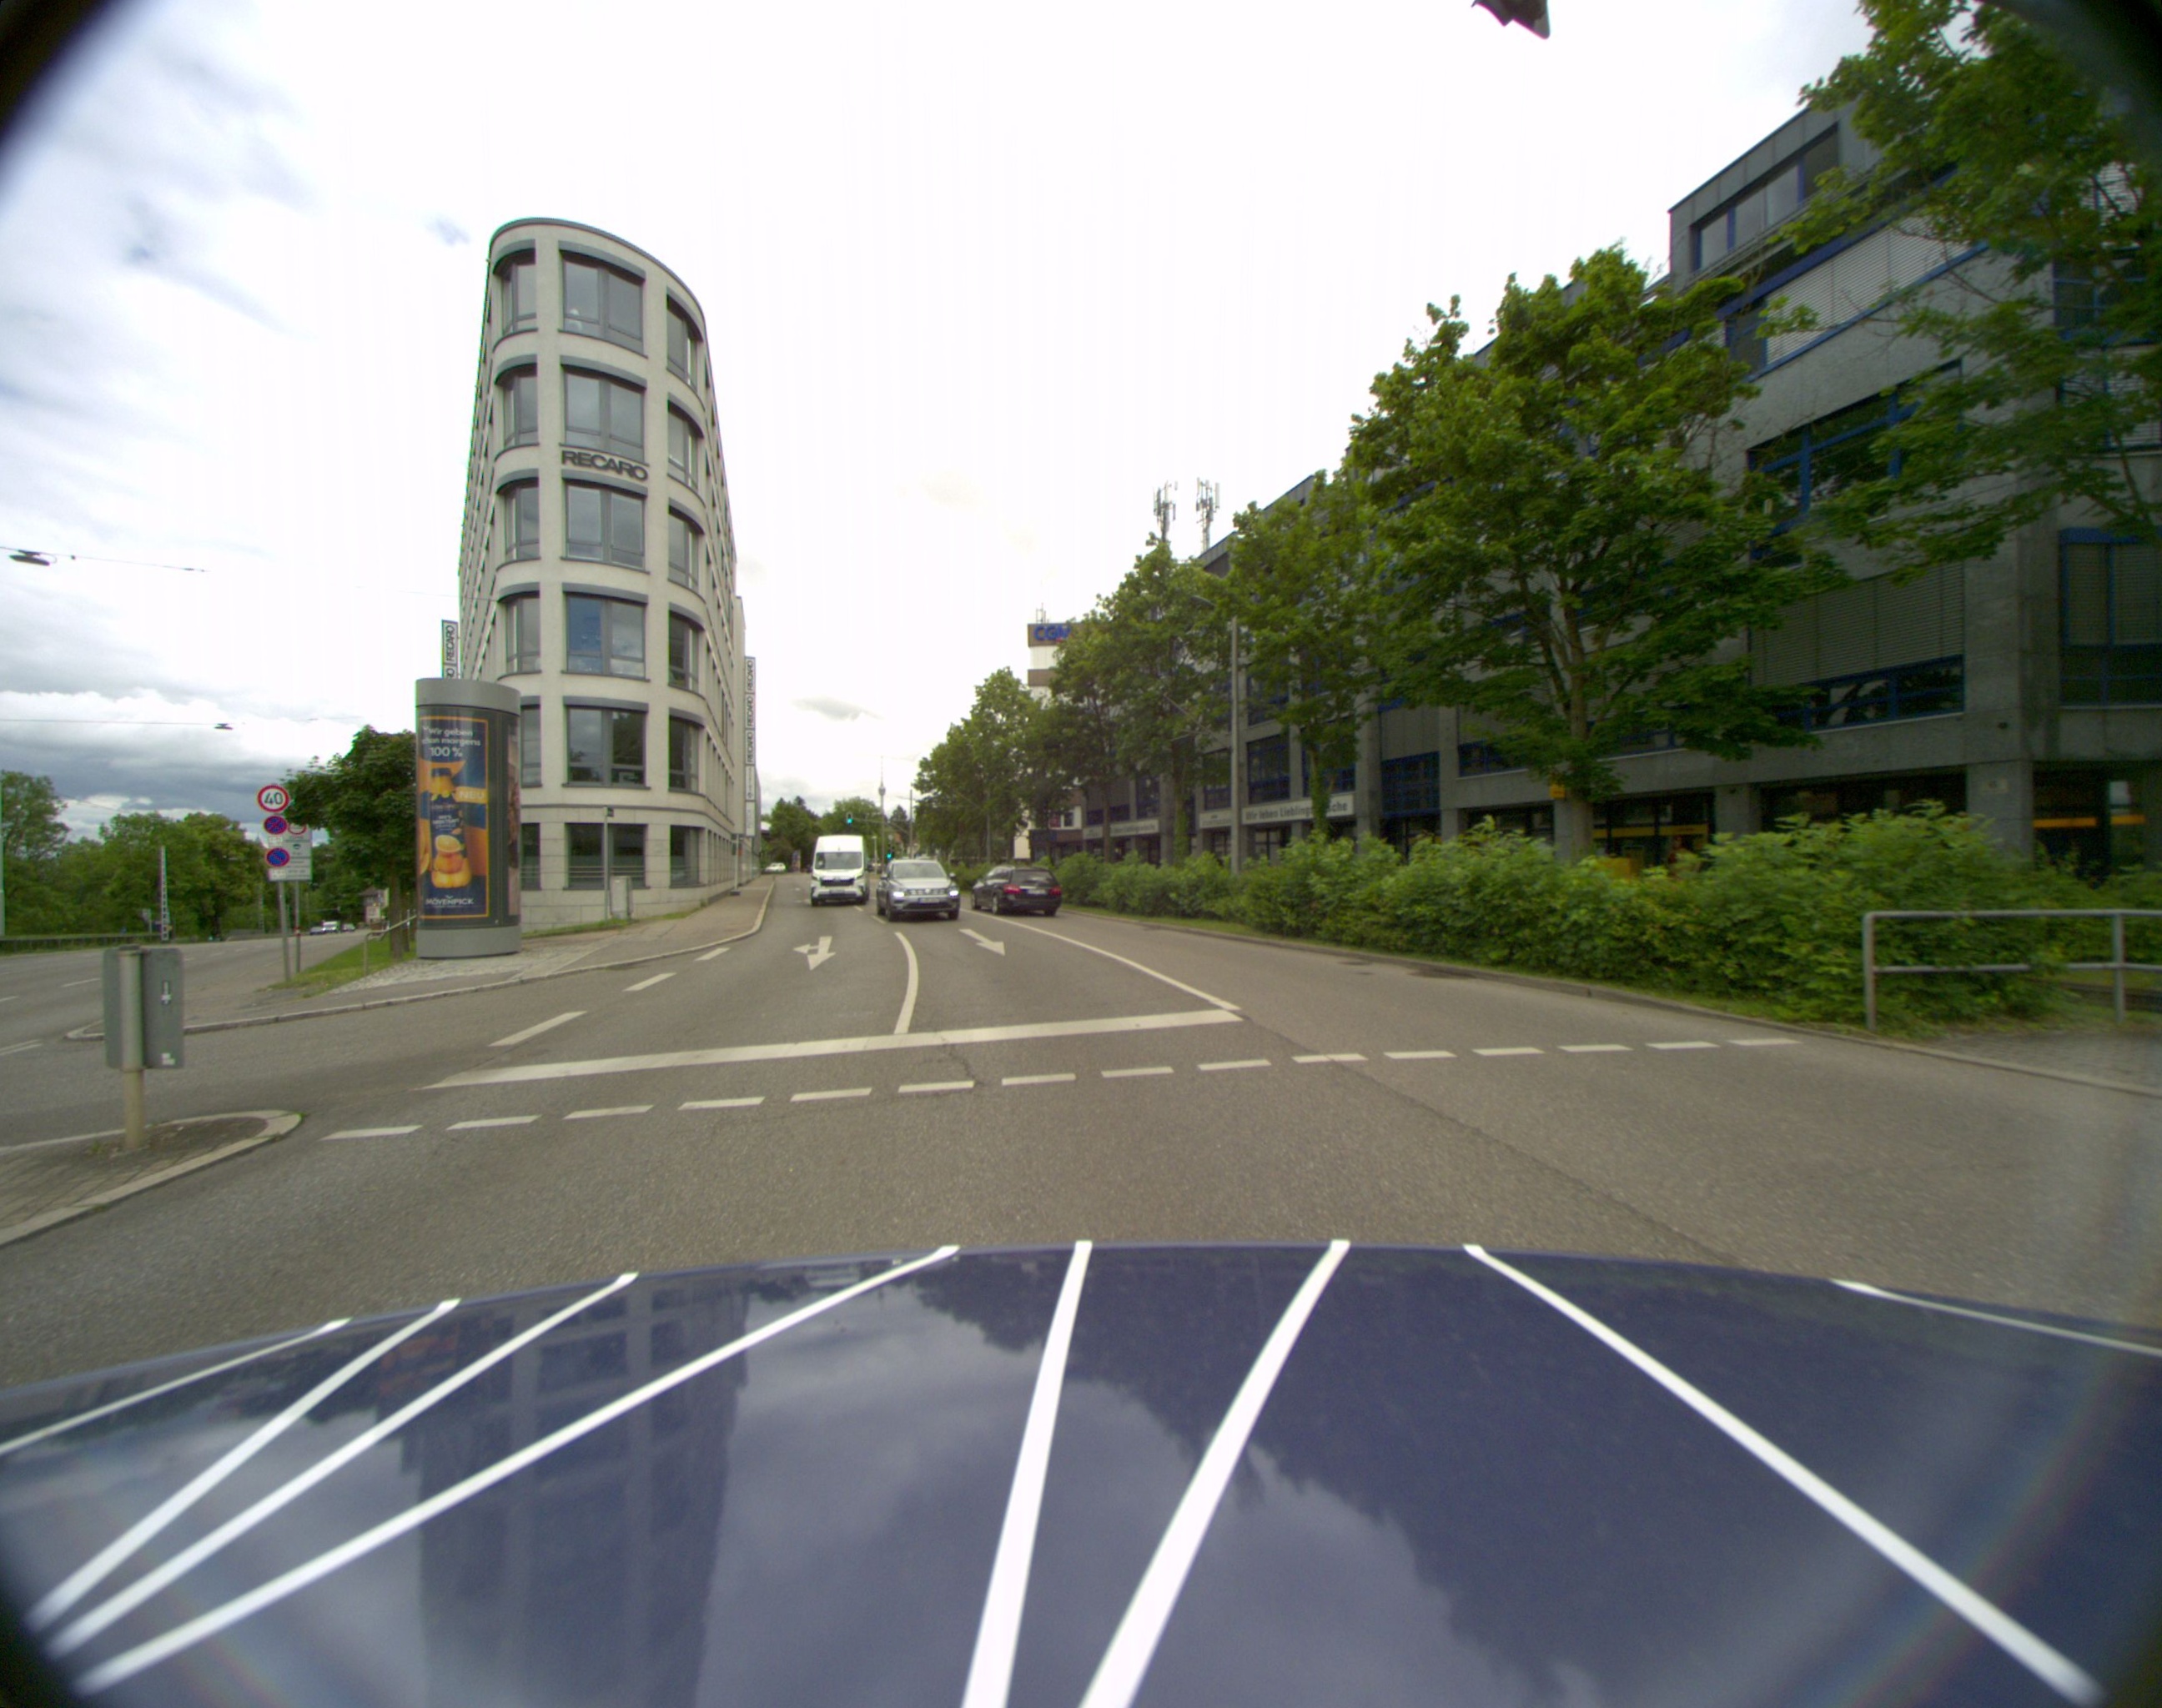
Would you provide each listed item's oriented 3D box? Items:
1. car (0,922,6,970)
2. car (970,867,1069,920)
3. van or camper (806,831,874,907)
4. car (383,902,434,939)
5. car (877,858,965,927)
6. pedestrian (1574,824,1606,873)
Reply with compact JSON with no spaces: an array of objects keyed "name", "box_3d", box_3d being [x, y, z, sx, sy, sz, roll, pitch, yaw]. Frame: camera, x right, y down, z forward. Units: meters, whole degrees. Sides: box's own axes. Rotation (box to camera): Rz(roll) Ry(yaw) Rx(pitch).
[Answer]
[{"name":"car","box_3d":[-35.224,3.023,23.164,1.740,1.559,4.315,-5,1,-41]},{"name":"car","box_3d":[-2.021,1.138,23.542,1.853,1.428,4.697,0,-1,-20]},{"name":"van or camper","box_3d":[-9.737,0.560,30.291,2.114,2.674,6.288,-2,0,-21]},{"name":"car","box_3d":[-43.792,4.283,49.577,2.182,2.002,3.989,-2,1,-38]},{"name":"car","box_3d":[-4.546,0.985,21.112,1.836,1.636,4.319,-2,0,-19]},{"name":"pedestrian","box_3d":[14.012,-0.145,20.910,0.366,1.326,0.557,-4,1,-26]}]
